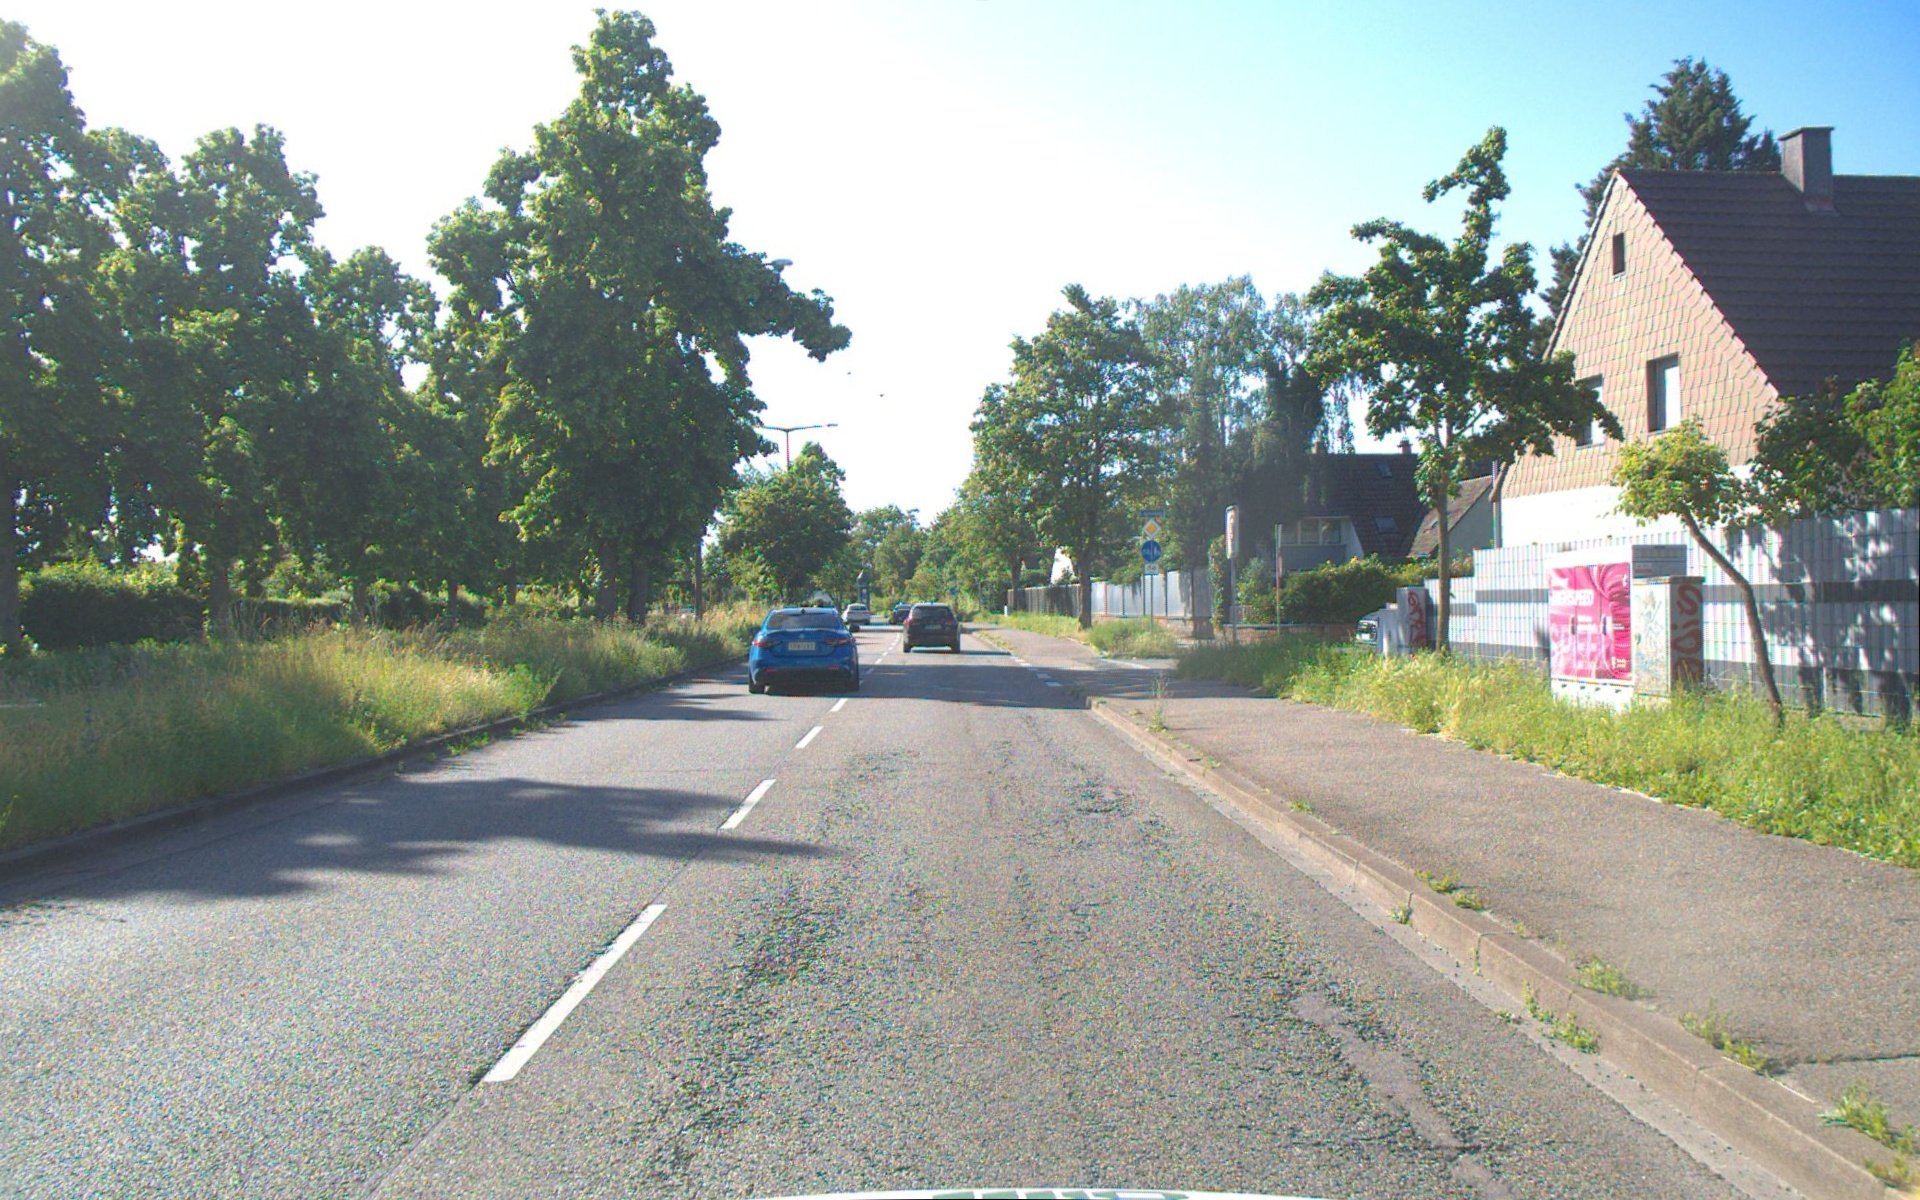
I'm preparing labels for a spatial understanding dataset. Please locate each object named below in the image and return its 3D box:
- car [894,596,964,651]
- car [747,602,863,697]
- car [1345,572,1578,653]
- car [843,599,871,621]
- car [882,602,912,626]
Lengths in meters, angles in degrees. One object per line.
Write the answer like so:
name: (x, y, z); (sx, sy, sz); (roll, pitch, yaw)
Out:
car: (-1.003, 0.696, 51.176); (1.878, 1.607, 4.178); (0, 0, -5)
car: (-2.665, 0.841, 29.228); (1.802, 1.500, 4.182); (-2, -1, -3)
car: (11.414, 0.269, 37.788); (4.653, 1.685, 2.068); (-1, 0, -8)
car: (-7.218, 0.689, 116.288); (1.877, 1.538, 4.065); (0, 0, -3)
car: (-4.612, 0.993, 121.156); (1.879, 1.707, 4.006); (0, 0, -7)
